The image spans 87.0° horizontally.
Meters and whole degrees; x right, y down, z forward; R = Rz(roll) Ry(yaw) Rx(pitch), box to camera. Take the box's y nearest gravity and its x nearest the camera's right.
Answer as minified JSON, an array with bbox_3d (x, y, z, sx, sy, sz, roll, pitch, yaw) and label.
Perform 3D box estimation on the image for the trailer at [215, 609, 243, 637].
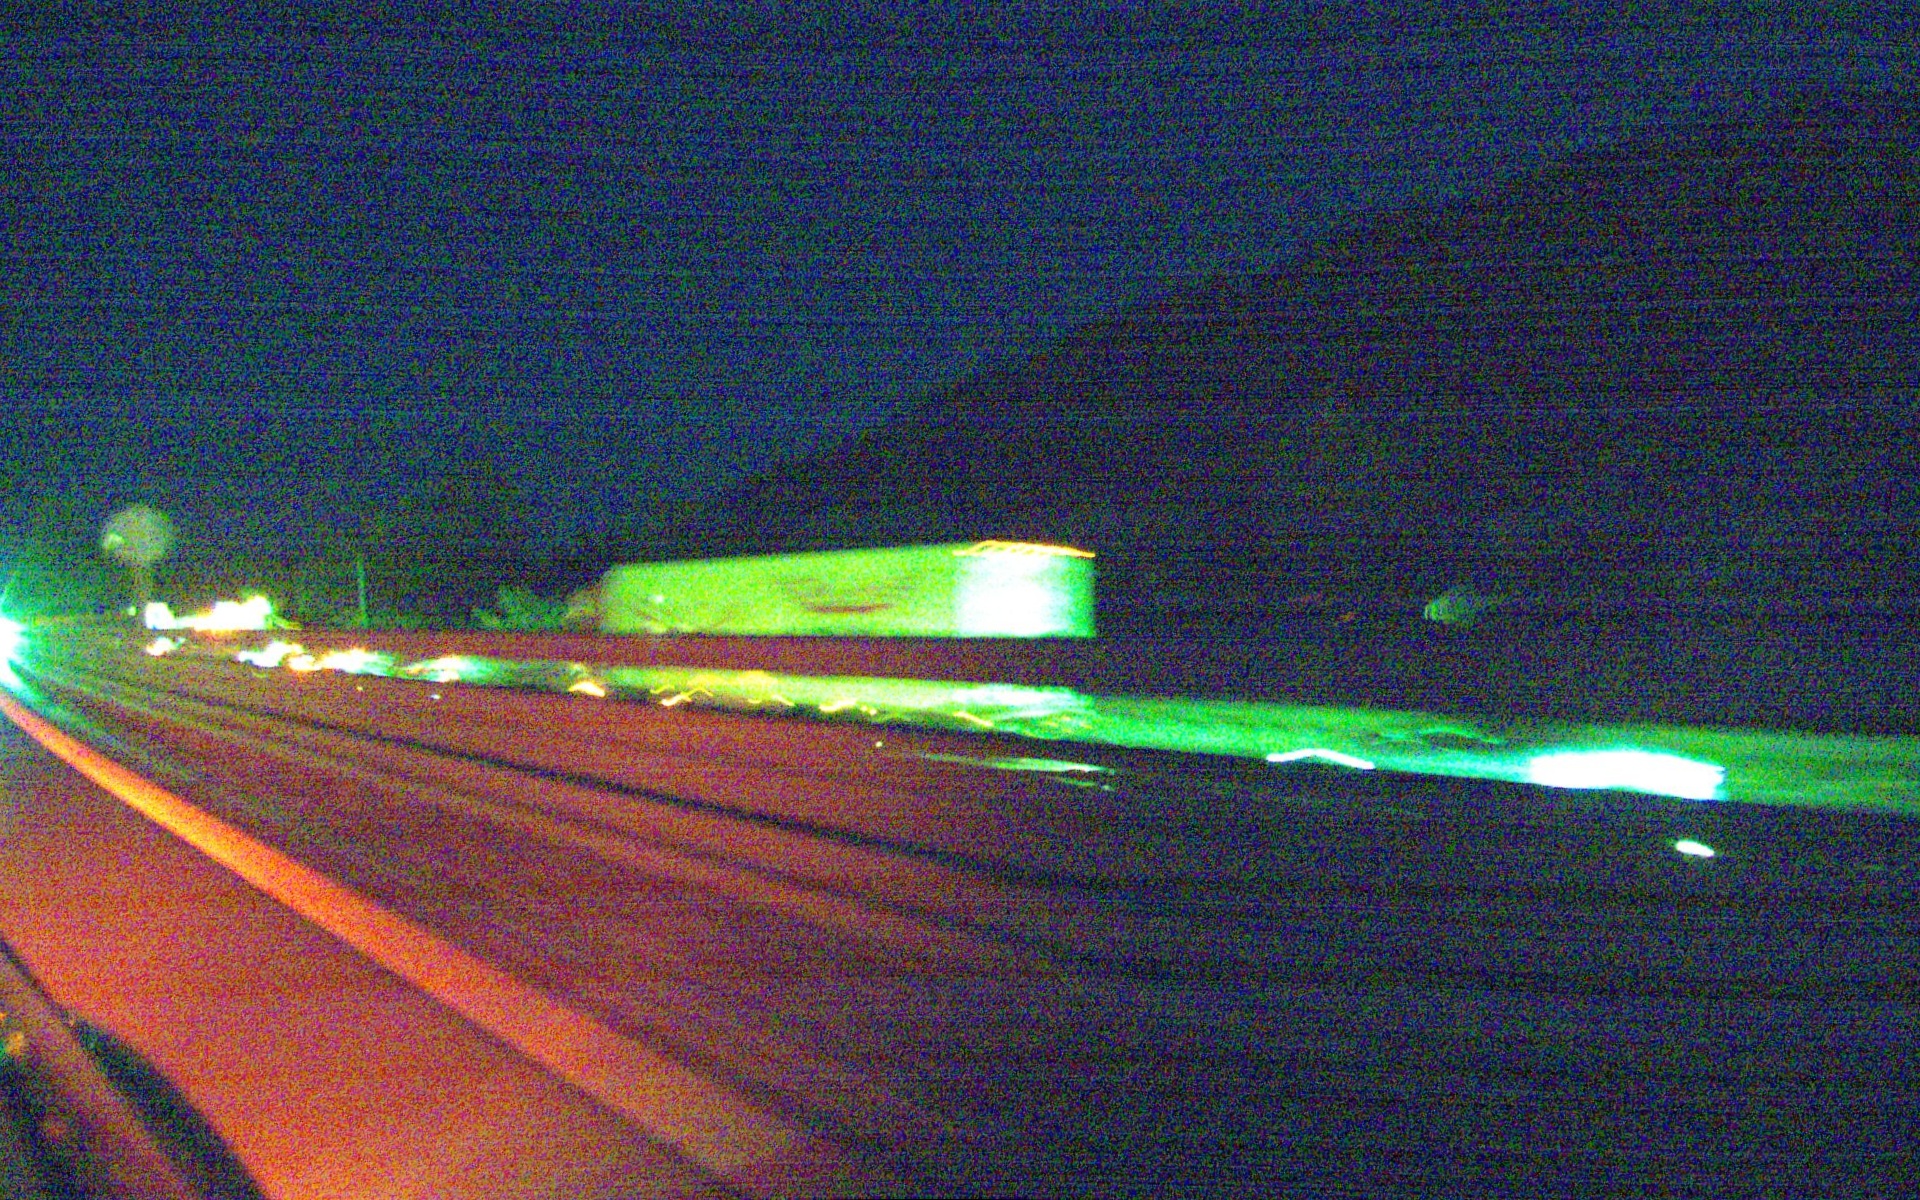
[{"bbox_3d":[-127.754,3.899,176.982,3.106,4.347,14.851,-3,1,-34],"label":"trailer"}]

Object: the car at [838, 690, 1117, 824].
[{"bbox_3d":[0.155,2.155,14.693,3.998,1.453,1.584,-1,-2,41],"label":"car"}]

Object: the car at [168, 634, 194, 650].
[{"bbox_3d":[-79.682,4.302,103.501,1.879,1.464,4.719,-1,0,-40],"label":"car"}]

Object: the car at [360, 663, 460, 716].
[{"bbox_3d":[-17.967,2.859,32.974,4.384,1.453,1.583,-2,-2,43],"label":"car"}]

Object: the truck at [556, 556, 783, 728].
[{"bbox_3d":[-8.270,1.145,28.454,6.283,4.255,3.380,-2,-3,44],"label":"truck"}]

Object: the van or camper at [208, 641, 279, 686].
[{"bbox_3d":[-35.306,3.078,49.784,5.224,2.029,1.971,-2,-2,45],"label":"van or camper"}]

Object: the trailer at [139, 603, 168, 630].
[{"bbox_3d":[-117.422,2.302,147.428,2.501,3.741,10.152,-3,1,-35],"label":"trailer"}]

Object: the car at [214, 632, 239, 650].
[{"bbox_3d":[-74.223,4.105,102.406,1.731,1.729,4.006,-1,0,-40],"label":"car"}]

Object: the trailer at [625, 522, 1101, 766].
[{"bbox_3d":[-2.984,0.946,23.456,12.833,4.273,3.398,-2,-3,43],"label":"trailer"}]

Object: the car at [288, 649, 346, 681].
[{"bbox_3d":[-33.242,3.331,52.278,1.816,1.453,4.003,-1,-1,-44],"label":"car"}]

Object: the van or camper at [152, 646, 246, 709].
[{"bbox_3d":[-27.231,2.698,36.155,4.578,2.029,2.007,-2,-2,45],"label":"van or camper"}]

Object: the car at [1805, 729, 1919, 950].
[{"bbox_3d":[8.625,1.824,7.080,4.135,1.453,1.584,-1,-2,40],"label":"car"}]

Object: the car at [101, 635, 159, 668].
[{"bbox_3d":[-45.729,2.793,55.730,2.113,1.719,5.117,2,-2,-43],"label":"car"}]

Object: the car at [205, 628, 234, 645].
[{"bbox_3d":[-79.820,3.908,109.043,2.049,1.647,4.927,-1,0,-42],"label":"car"}]

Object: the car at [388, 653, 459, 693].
[{"bbox_3d":[-22.337,2.994,42.079,1.582,1.453,4.003,2,-2,-44],"label":"car"}]

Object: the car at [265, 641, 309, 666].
[{"bbox_3d":[-44.920,3.535,67.530,1.794,1.569,4.284,1,-2,-42],"label":"car"}]

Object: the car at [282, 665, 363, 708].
[{"bbox_3d":[-24.615,3.303,39.028,3.999,1.453,1.583,-2,-2,42],"label":"car"}]

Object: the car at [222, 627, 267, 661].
[{"bbox_3d":[-55.156,3.363,77.977,2.004,2.460,5.700,-1,0,-44],"label":"car"}]

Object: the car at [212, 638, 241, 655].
[{"bbox_3d":[-68.298,4.352,94.262,1.800,1.469,4.005,2,-2,-41],"label":"car"}]

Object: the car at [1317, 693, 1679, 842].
[{"bbox_3d":[7.039,2.090,13.485,3.998,1.453,1.584,-1,-2,41],"label":"car"}]

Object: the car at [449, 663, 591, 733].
[{"bbox_3d":[-10.940,2.364,25.042,4.253,1.453,1.584,-1,-2,41],"label":"car"}]

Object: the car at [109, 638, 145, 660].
[{"bbox_3d":[-60.402,3.533,73.330,1.794,1.480,4.284,1,-2,-42],"label":"car"}]

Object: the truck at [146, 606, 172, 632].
[{"bbox_3d":[-121.363,2.794,153.375,2.569,3.771,6.773,-3,1,-35],"label":"truck"}]

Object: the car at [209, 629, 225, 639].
[{"bbox_3d":[-121.320,5.528,165.311,1.967,1.502,4.414,-1,0,-36],"label":"car"}]

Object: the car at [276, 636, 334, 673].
[{"bbox_3d":[-38.815,3.181,59.898,2.113,2.070,5.119,1,-2,-42],"label":"car"}]

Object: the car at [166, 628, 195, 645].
[{"bbox_3d":[-73.028,3.395,94.760,1.794,1.480,4.284,1,-2,-42],"label":"car"}]

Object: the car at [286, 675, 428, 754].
[{"bbox_3d":[-13.646,2.498,22.832,3.998,1.453,1.584,-1,-2,41],"label":"car"}]
